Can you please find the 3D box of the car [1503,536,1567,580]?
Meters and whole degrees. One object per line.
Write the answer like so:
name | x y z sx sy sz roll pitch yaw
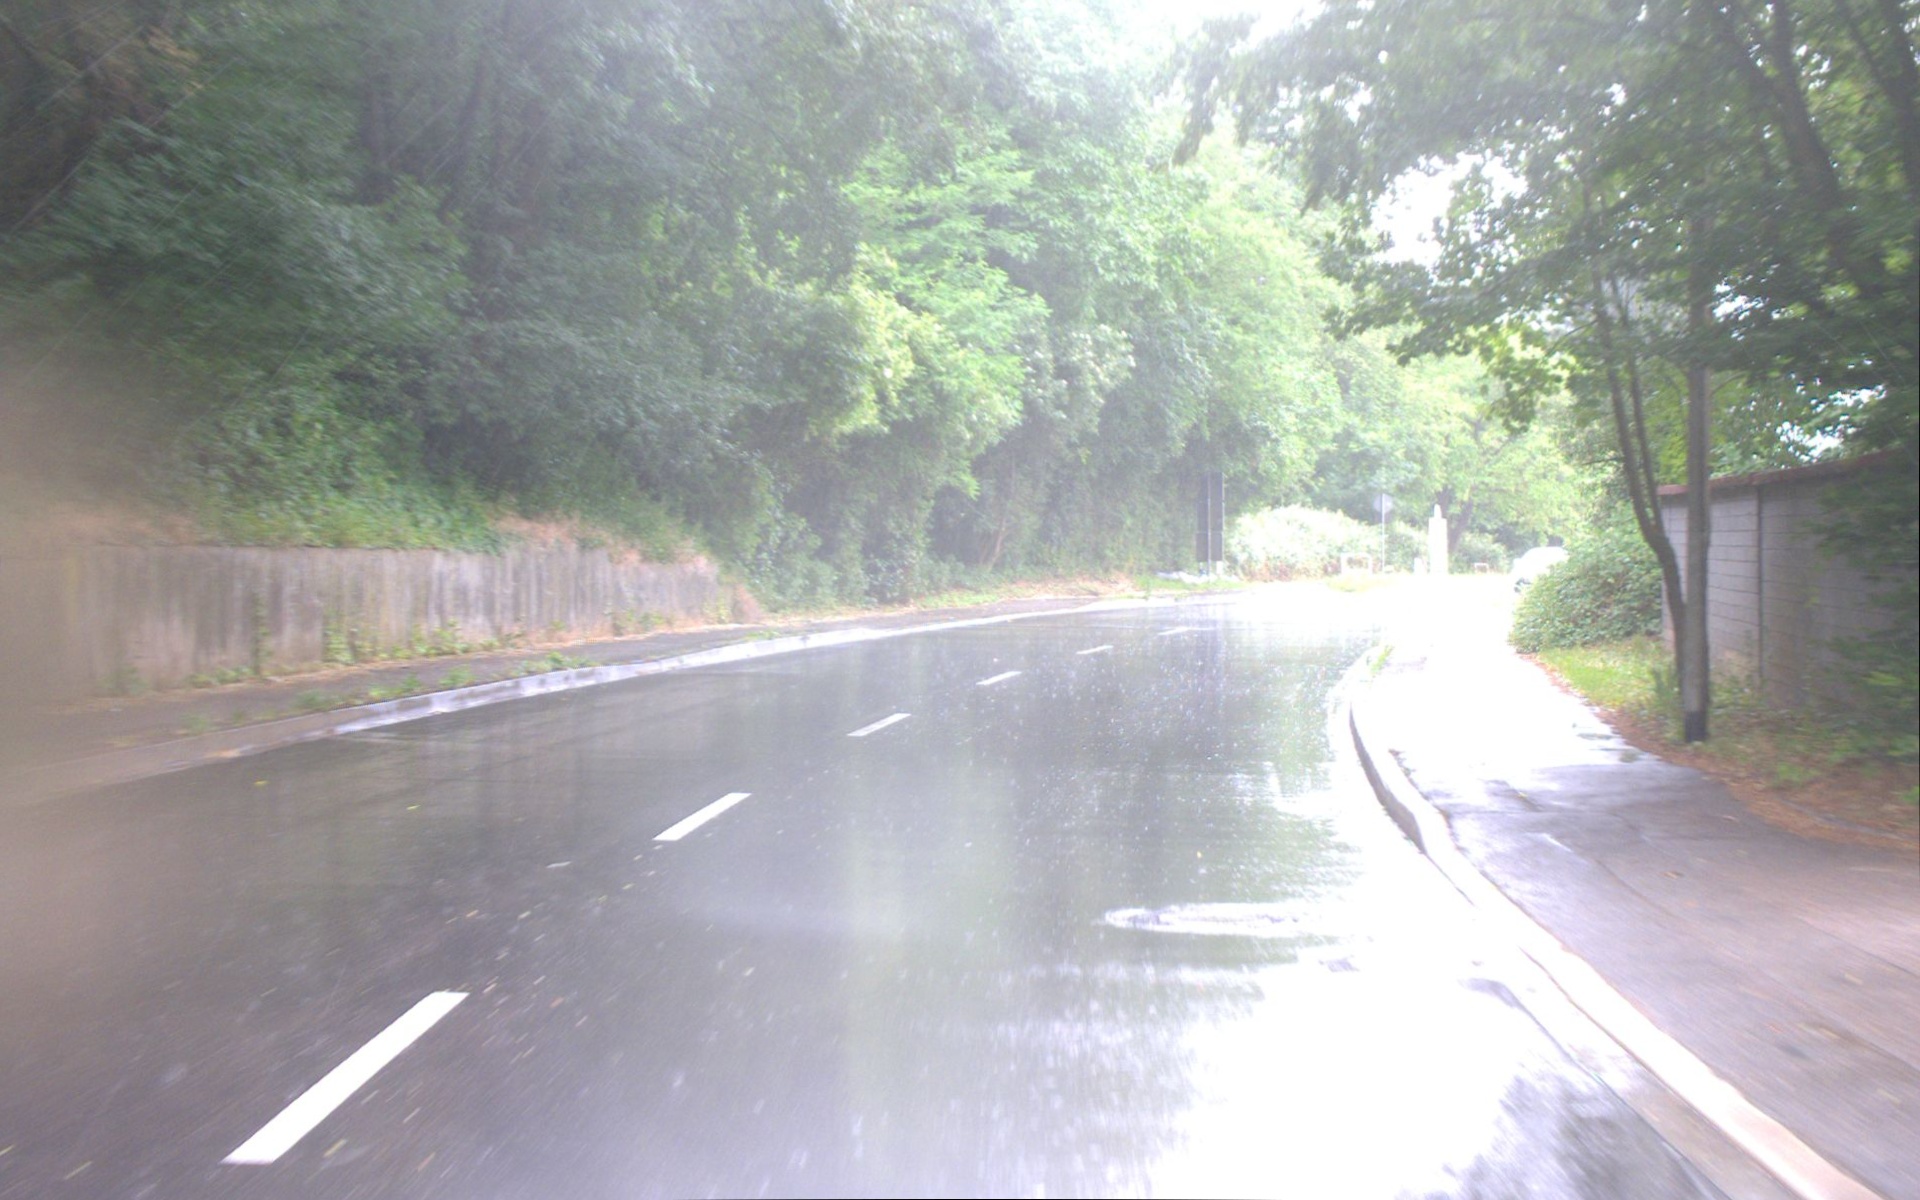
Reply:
car | 18.681 -1.375 111.562 1.787 1.414 4.631 0 1 13
